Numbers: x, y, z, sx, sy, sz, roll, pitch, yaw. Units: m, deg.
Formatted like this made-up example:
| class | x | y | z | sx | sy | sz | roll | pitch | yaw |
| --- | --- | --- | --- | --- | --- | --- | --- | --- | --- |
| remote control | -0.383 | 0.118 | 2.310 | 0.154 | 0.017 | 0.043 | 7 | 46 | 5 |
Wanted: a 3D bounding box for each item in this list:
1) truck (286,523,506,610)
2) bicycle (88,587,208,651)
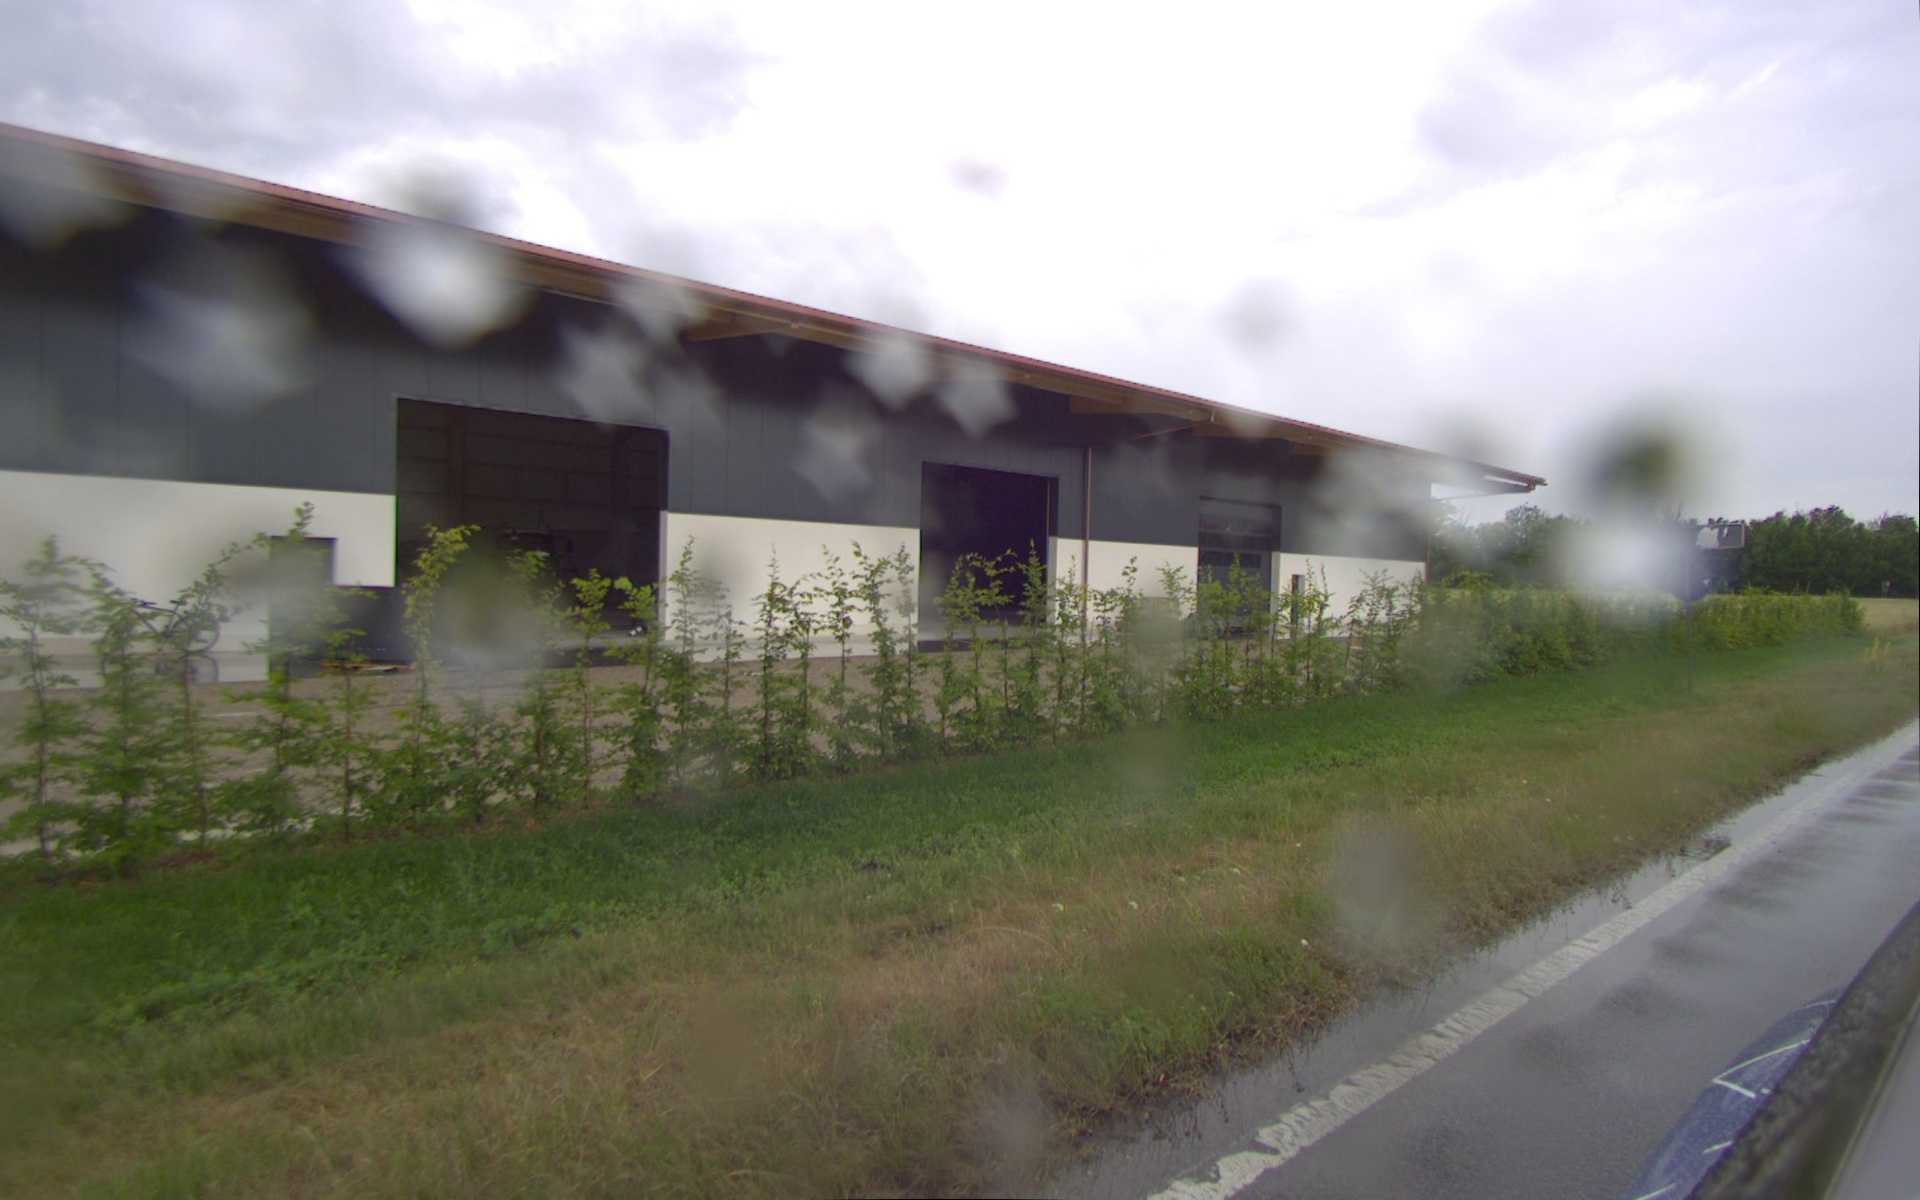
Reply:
| class | x | y | z | sx | sy | sz | roll | pitch | yaw |
| --- | --- | --- | --- | --- | --- | --- | --- | --- | --- |
| truck | -18.488 | -1.077 | 33.385 | 6.047 | 2.639 | 2.122 | 0 | 2 | -40 |
| bicycle | -14.264 | 0.315 | 17.806 | 1.631 | 1.085 | 0.391 | 0 | 2 | -40 |
